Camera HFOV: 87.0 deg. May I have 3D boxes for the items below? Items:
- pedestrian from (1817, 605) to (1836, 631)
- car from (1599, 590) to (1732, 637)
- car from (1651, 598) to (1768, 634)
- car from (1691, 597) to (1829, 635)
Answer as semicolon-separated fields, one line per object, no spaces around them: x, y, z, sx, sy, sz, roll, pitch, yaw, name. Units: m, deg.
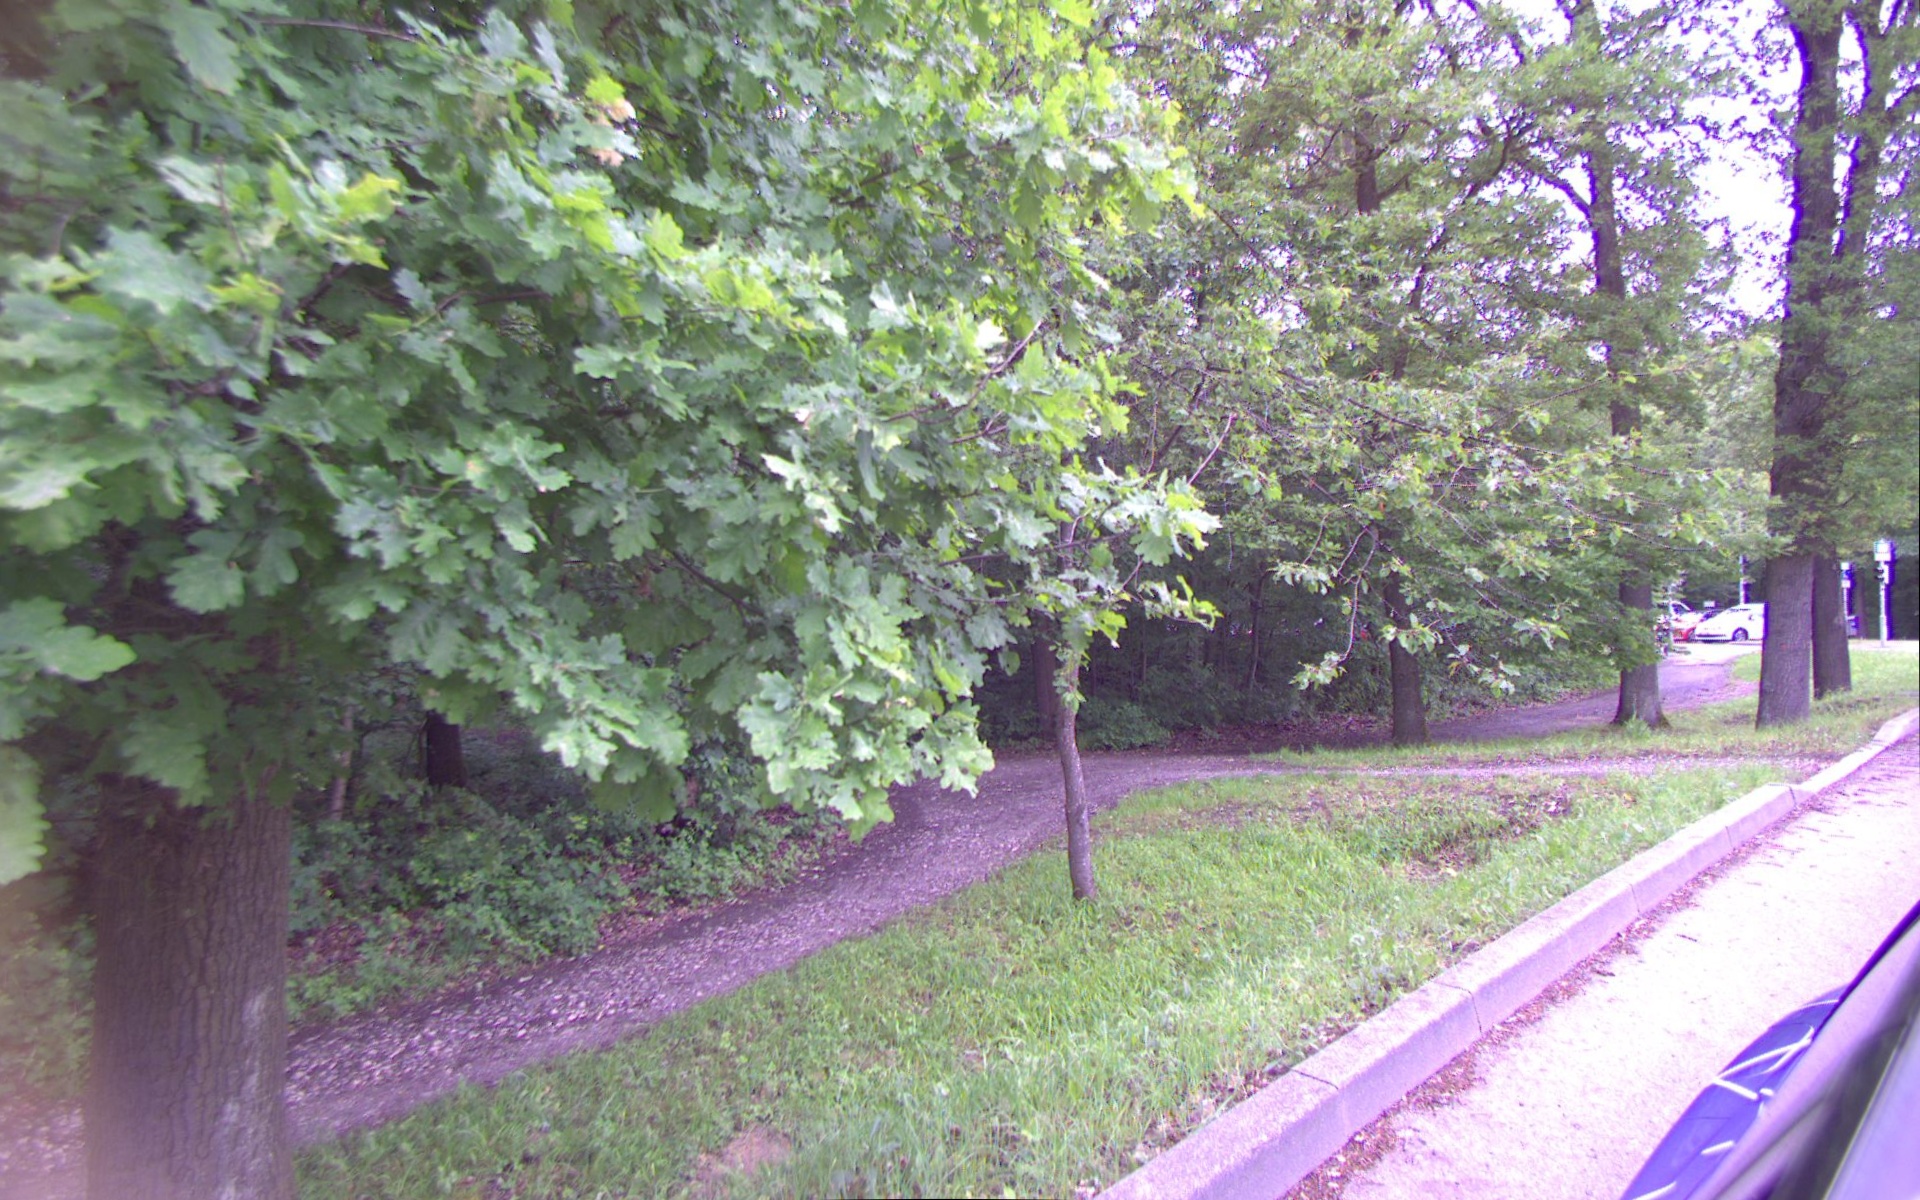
57.635;1.213;67.305;1.018;1.672;0.831;1;-3;-43;pedestrian
33.520;0.653;48.143;5.077;1.982;2.065;-2;-2;-10;car
33.644;0.732;45.489;3.920;1.572;1.896;-1;-2;-6;car
33.977;0.693;43.054;4.332;1.572;2.001;-1;-2;-6;car
